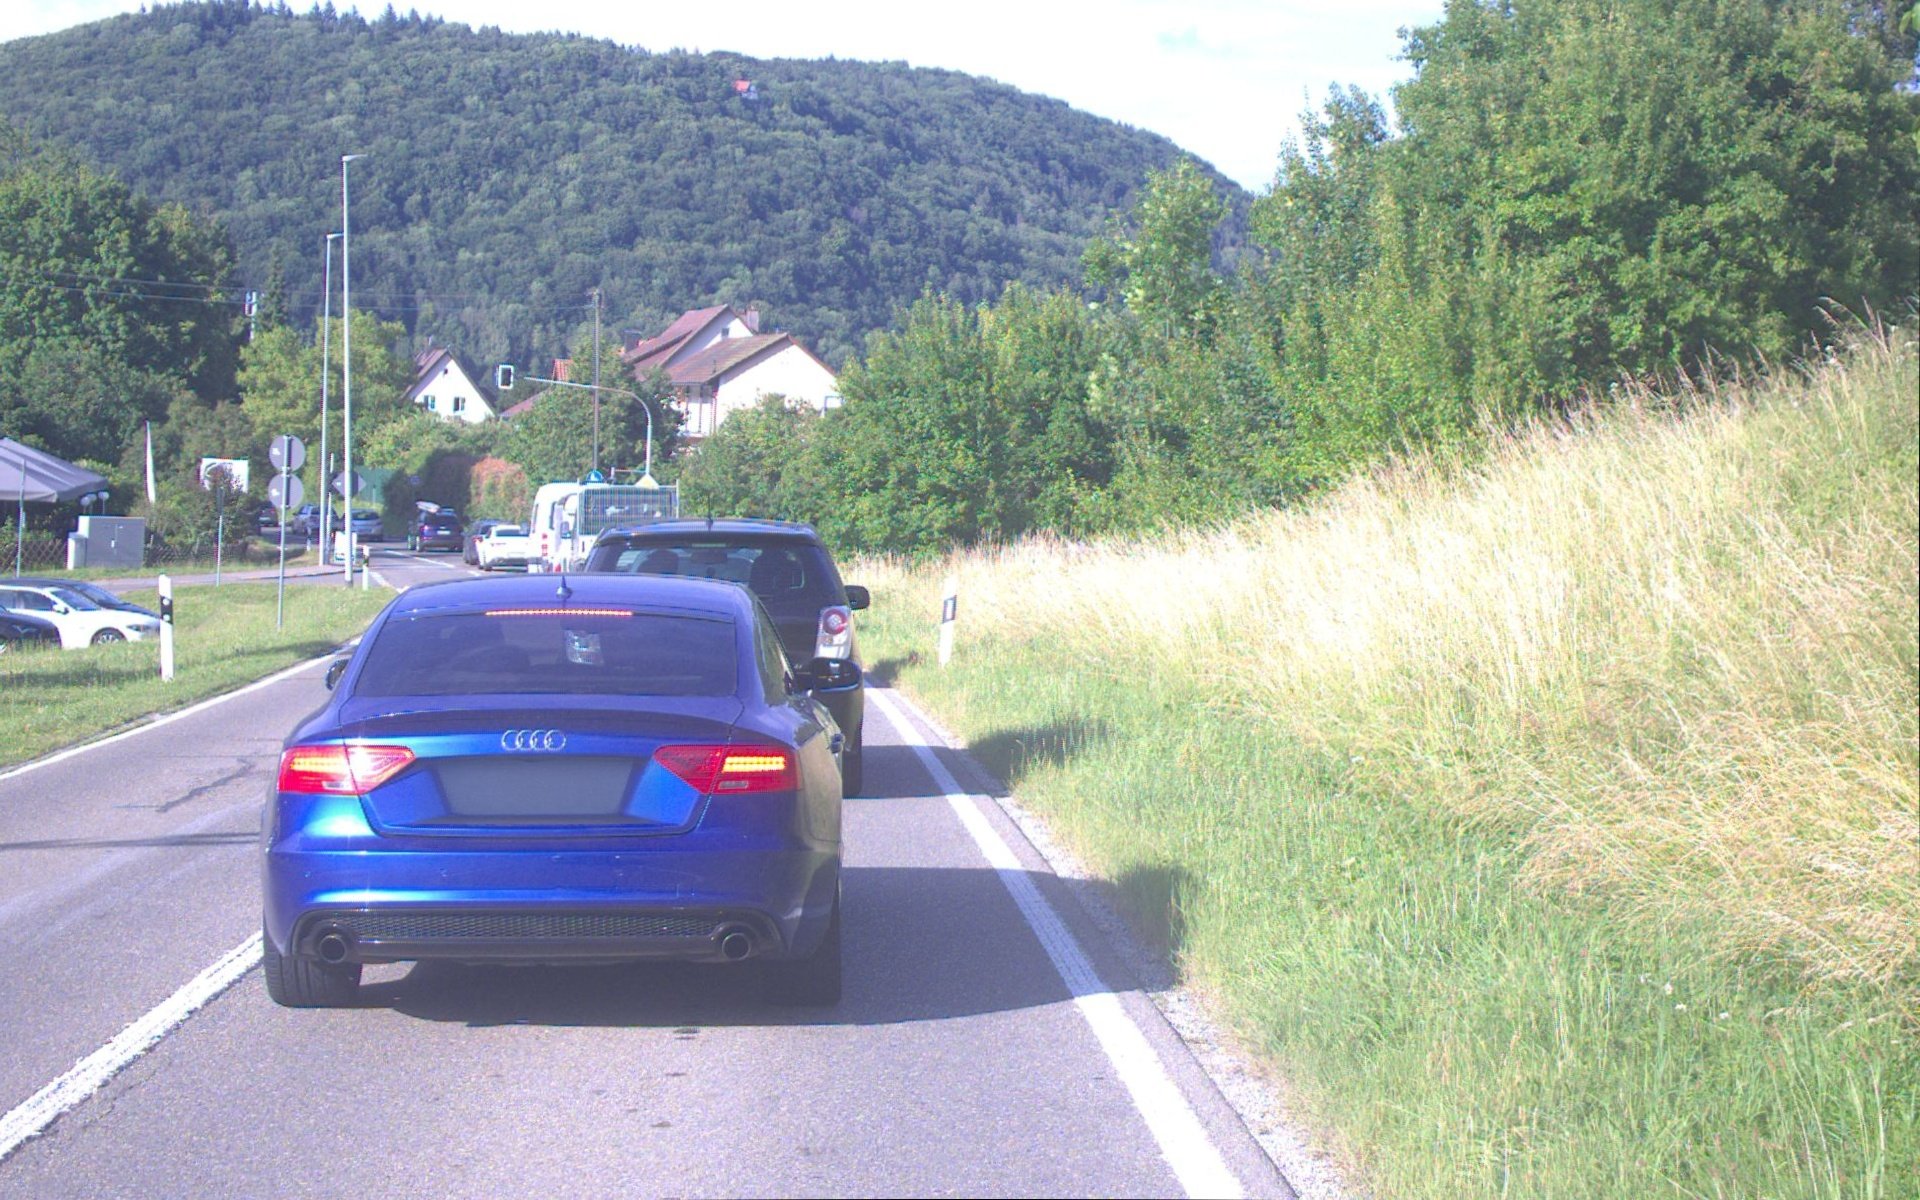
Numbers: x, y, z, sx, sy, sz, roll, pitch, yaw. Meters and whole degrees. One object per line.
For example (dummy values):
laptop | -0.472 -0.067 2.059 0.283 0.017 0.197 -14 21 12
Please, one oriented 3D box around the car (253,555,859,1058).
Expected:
car | -1.276 0.575 11.726 1.742 1.445 3.517 0 1 -4

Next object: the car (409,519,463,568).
car | -21.116 -2.272 138.512 1.676 1.918 4.001 -1 1 -16

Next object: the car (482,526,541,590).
car | -14.027 -1.311 107.366 1.659 1.918 4.001 -1 1 -9

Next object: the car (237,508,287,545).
car | -37.364 -3.915 183.968 1.954 1.918 4.001 0 0 -21

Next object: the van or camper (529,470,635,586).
van or camper | -9.171 -1.713 83.054 2.280 2.704 5.769 -1 1 -9

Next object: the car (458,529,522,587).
car | -15.770 -1.409 115.270 1.659 1.918 4.001 -1 1 -14

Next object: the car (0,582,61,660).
car | -19.030 0.397 64.849 3.713 1.434 1.509 0 1 8

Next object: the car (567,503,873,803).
car | -1.452 0.265 20.765 1.645 1.619 3.517 1 1 -4

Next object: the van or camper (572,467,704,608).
van or camper | -6.040 -1.147 63.935 2.051 2.497 5.813 -1 1 -9

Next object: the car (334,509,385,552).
car | -27.408 -3.158 156.767 1.676 1.918 4.001 -1 1 -19

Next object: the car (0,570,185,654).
car | -17.836 0.231 69.174 4.037 1.655 1.655 0 1 8

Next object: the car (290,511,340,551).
car | -31.835 -3.415 169.635 1.676 1.918 4.001 -1 1 -22
